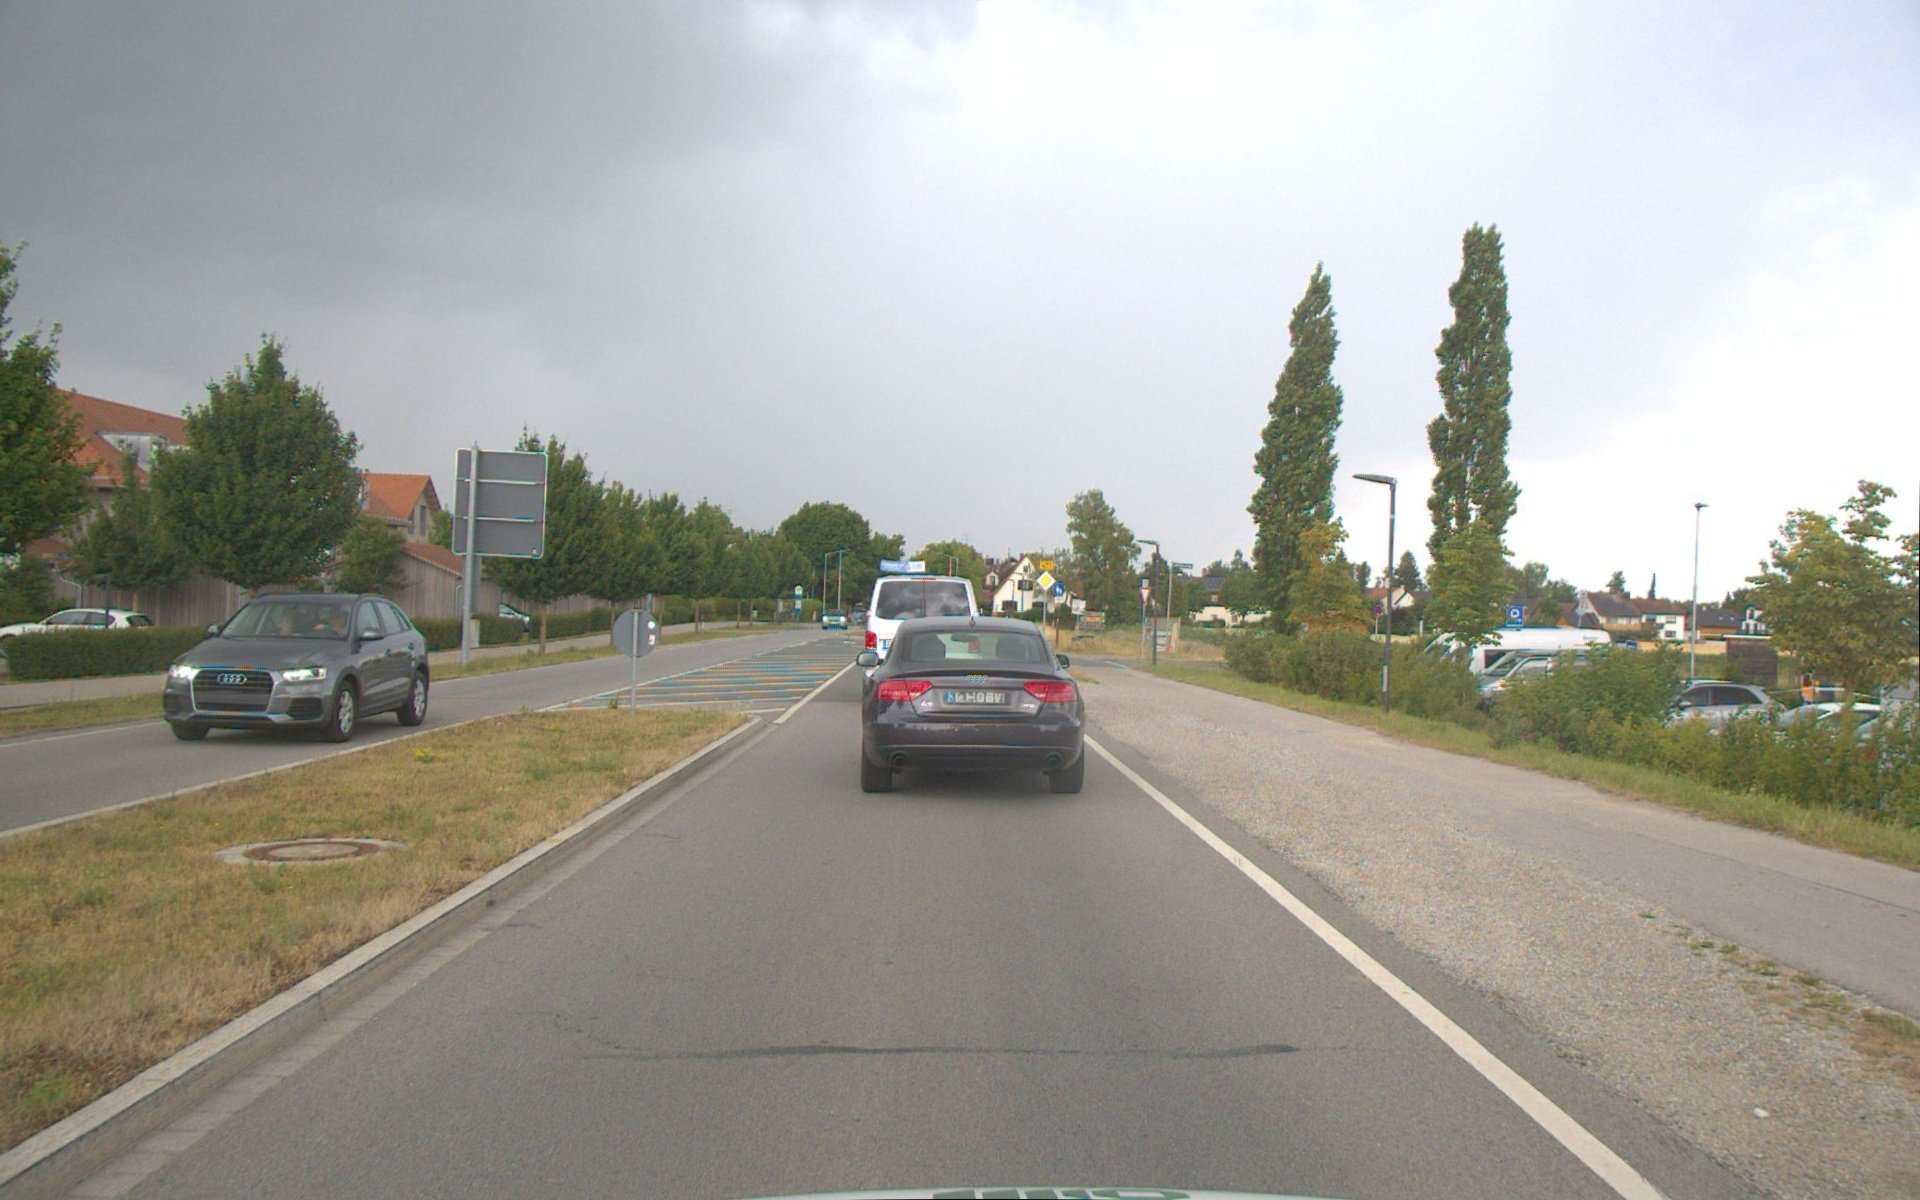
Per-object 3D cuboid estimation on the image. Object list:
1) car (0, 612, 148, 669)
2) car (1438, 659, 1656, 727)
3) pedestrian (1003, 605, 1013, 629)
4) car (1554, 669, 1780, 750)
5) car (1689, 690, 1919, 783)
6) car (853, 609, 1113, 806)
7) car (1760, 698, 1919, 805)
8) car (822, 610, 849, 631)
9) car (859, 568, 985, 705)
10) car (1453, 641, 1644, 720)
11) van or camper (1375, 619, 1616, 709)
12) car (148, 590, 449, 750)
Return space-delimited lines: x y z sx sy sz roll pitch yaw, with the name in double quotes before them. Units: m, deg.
"car" -24.366 1.109 45.331 3.443 1.515 1.563 0 0 -2
"car" 14.983 2.360 42.332 4.994 1.626 1.757 0 0 -4
"pedestrian" 3.184 1.137 110.082 0.611 1.551 0.679 0 0 -2
"car" 15.347 2.359 36.050 4.064 1.626 2.079 0 0 -3
"car" 15.828 2.491 30.483 4.064 1.565 1.675 0 0 -4
"car" 0.040 0.806 14.469 1.790 1.413 4.382 0 0 -6
"car" 15.200 2.427 26.815 3.681 1.565 1.675 0 0 -3
"car" -9.092 1.501 120.712 1.734 1.469 3.999 0 0 -1
"car" -0.661 0.541 26.499 1.789 1.947 3.998 3 0 -3
"car" 15.937 2.152 44.925 4.502 2.049 1.999 0 0 -3
"van or camper" 15.560 1.831 48.271 6.338 2.507 2.280 0 0 -4
"car" -7.323 0.710 18.802 1.788 1.610 4.215 0 0 -1
